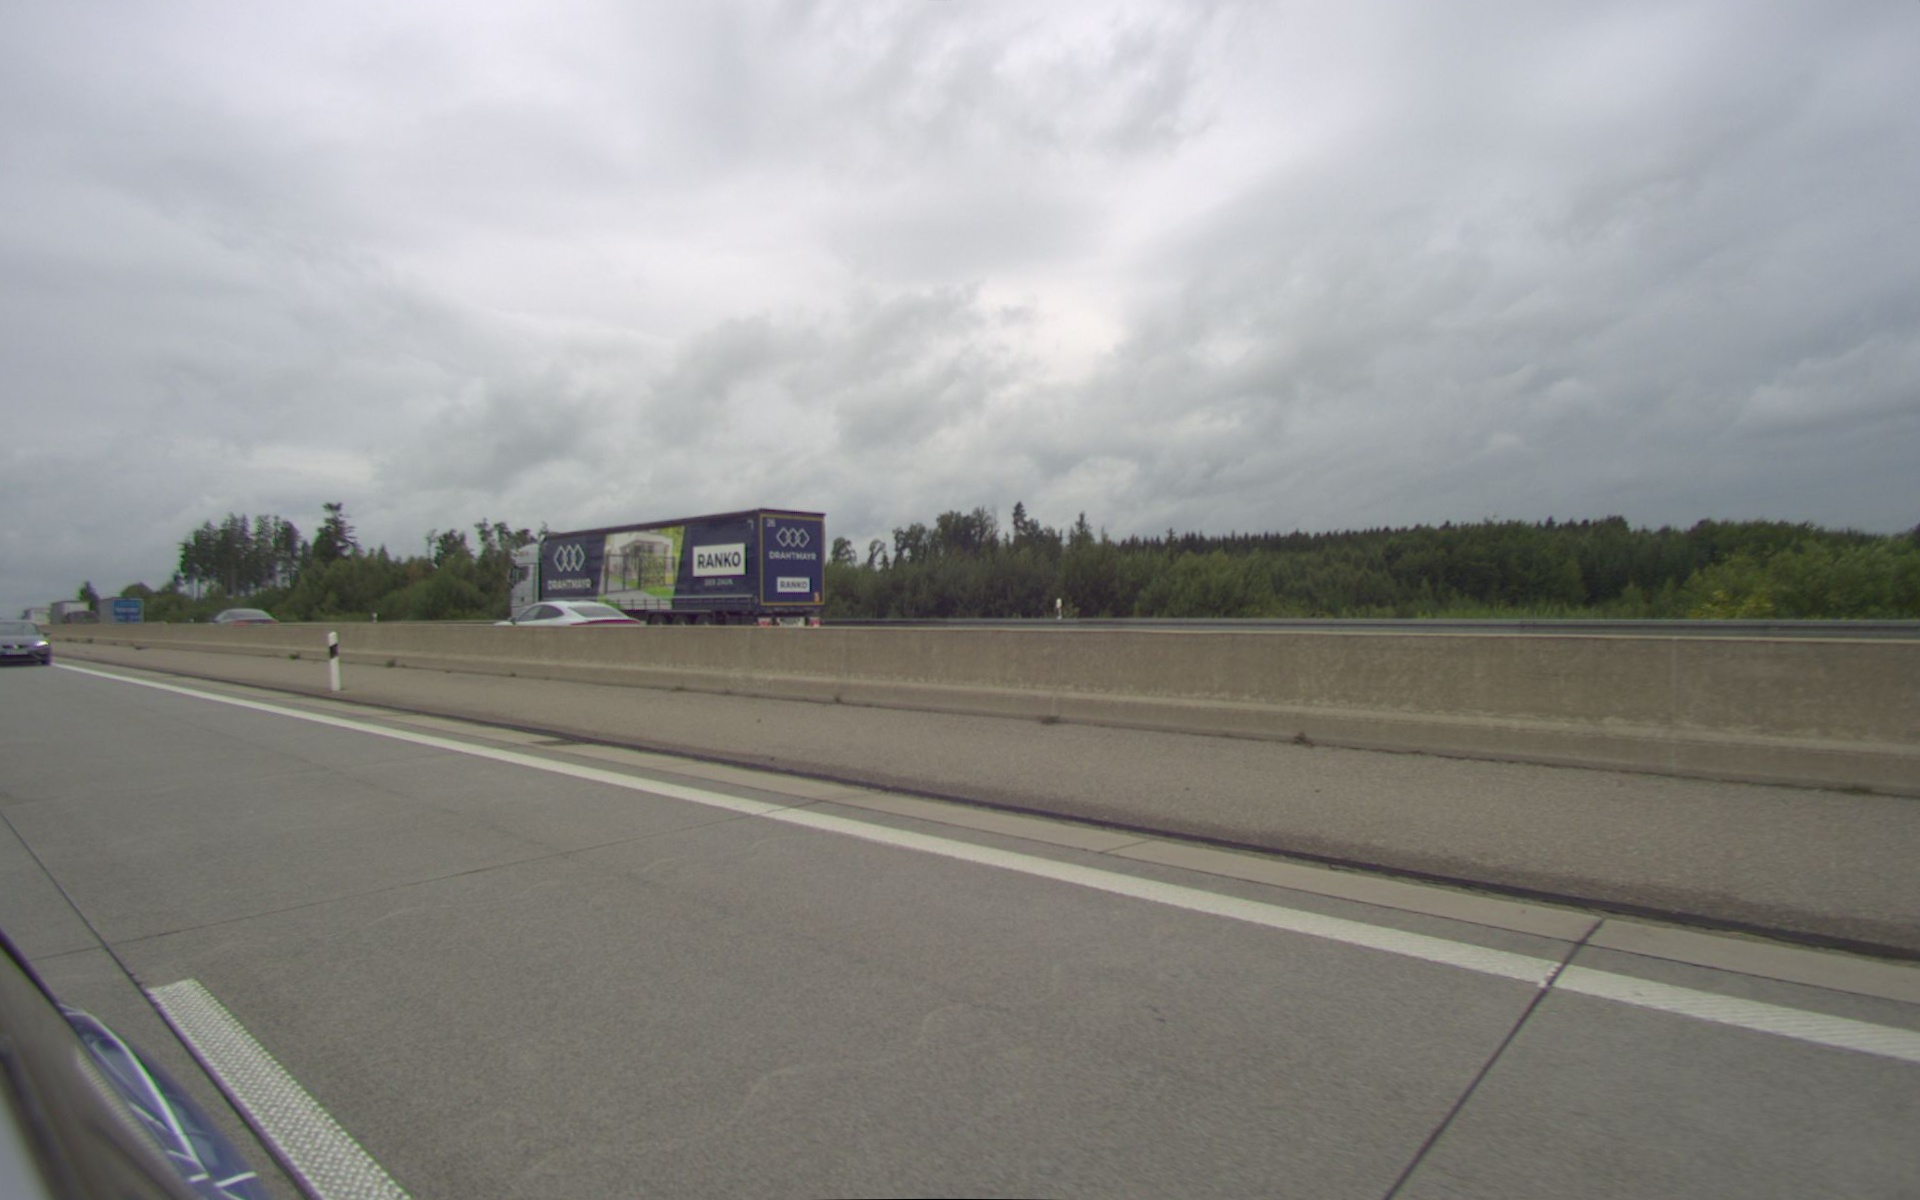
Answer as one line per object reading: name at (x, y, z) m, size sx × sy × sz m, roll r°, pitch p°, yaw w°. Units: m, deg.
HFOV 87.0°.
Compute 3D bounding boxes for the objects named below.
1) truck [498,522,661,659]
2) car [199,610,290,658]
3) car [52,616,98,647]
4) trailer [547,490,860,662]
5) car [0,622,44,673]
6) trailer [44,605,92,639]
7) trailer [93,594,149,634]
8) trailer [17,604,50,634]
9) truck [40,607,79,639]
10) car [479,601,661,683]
truck at (-14.797, -0.258, 39.171) m, size 5.866 × 4.856 × 3.550 m, roll -2°, pitch -1°, yaw 41°
car at (-28.237, 1.330, 39.903) m, size 4.524 × 1.752 × 1.973 m, roll -2°, pitch -1°, yaw 42°
car at (-64.495, 2.326, 73.763) m, size 4.862 × 2.163 × 1.972 m, roll -2°, pitch -1°, yaw 42°
trailer at (-9.107, -0.497, 34.061) m, size 12.902 × 4.836 × 3.561 m, roll -2°, pitch -1°, yaw 42°
car at (-29.877, 1.467, 31.361) m, size 4.569 × 1.492 × 1.766 m, roll -2°, pitch -1°, yaw 42°
trailer at (-116.244, 2.881, 131.790) m, size 12.928 × 4.233 × 3.445 m, roll -2°, pitch -1°, yaw 43°
trailer at (-86.816, 1.521, 104.633) m, size 12.397 × 3.866 × 2.819 m, roll -2°, pitch -1°, yaw 43°
trailer at (-149.783, 3.103, 163.526) m, size 13.637 × 4.660 × 2.884 m, roll -2°, pitch -1°, yaw 43°
truck at (-122.719, 3.152, 137.887) m, size 6.493 × 4.214 × 3.432 m, roll -2°, pitch -1°, yaw 43°
car at (-8.880, 0.920, 22.855) m, size 4.524 × 1.675 × 1.973 m, roll -2°, pitch -1°, yaw 42°
